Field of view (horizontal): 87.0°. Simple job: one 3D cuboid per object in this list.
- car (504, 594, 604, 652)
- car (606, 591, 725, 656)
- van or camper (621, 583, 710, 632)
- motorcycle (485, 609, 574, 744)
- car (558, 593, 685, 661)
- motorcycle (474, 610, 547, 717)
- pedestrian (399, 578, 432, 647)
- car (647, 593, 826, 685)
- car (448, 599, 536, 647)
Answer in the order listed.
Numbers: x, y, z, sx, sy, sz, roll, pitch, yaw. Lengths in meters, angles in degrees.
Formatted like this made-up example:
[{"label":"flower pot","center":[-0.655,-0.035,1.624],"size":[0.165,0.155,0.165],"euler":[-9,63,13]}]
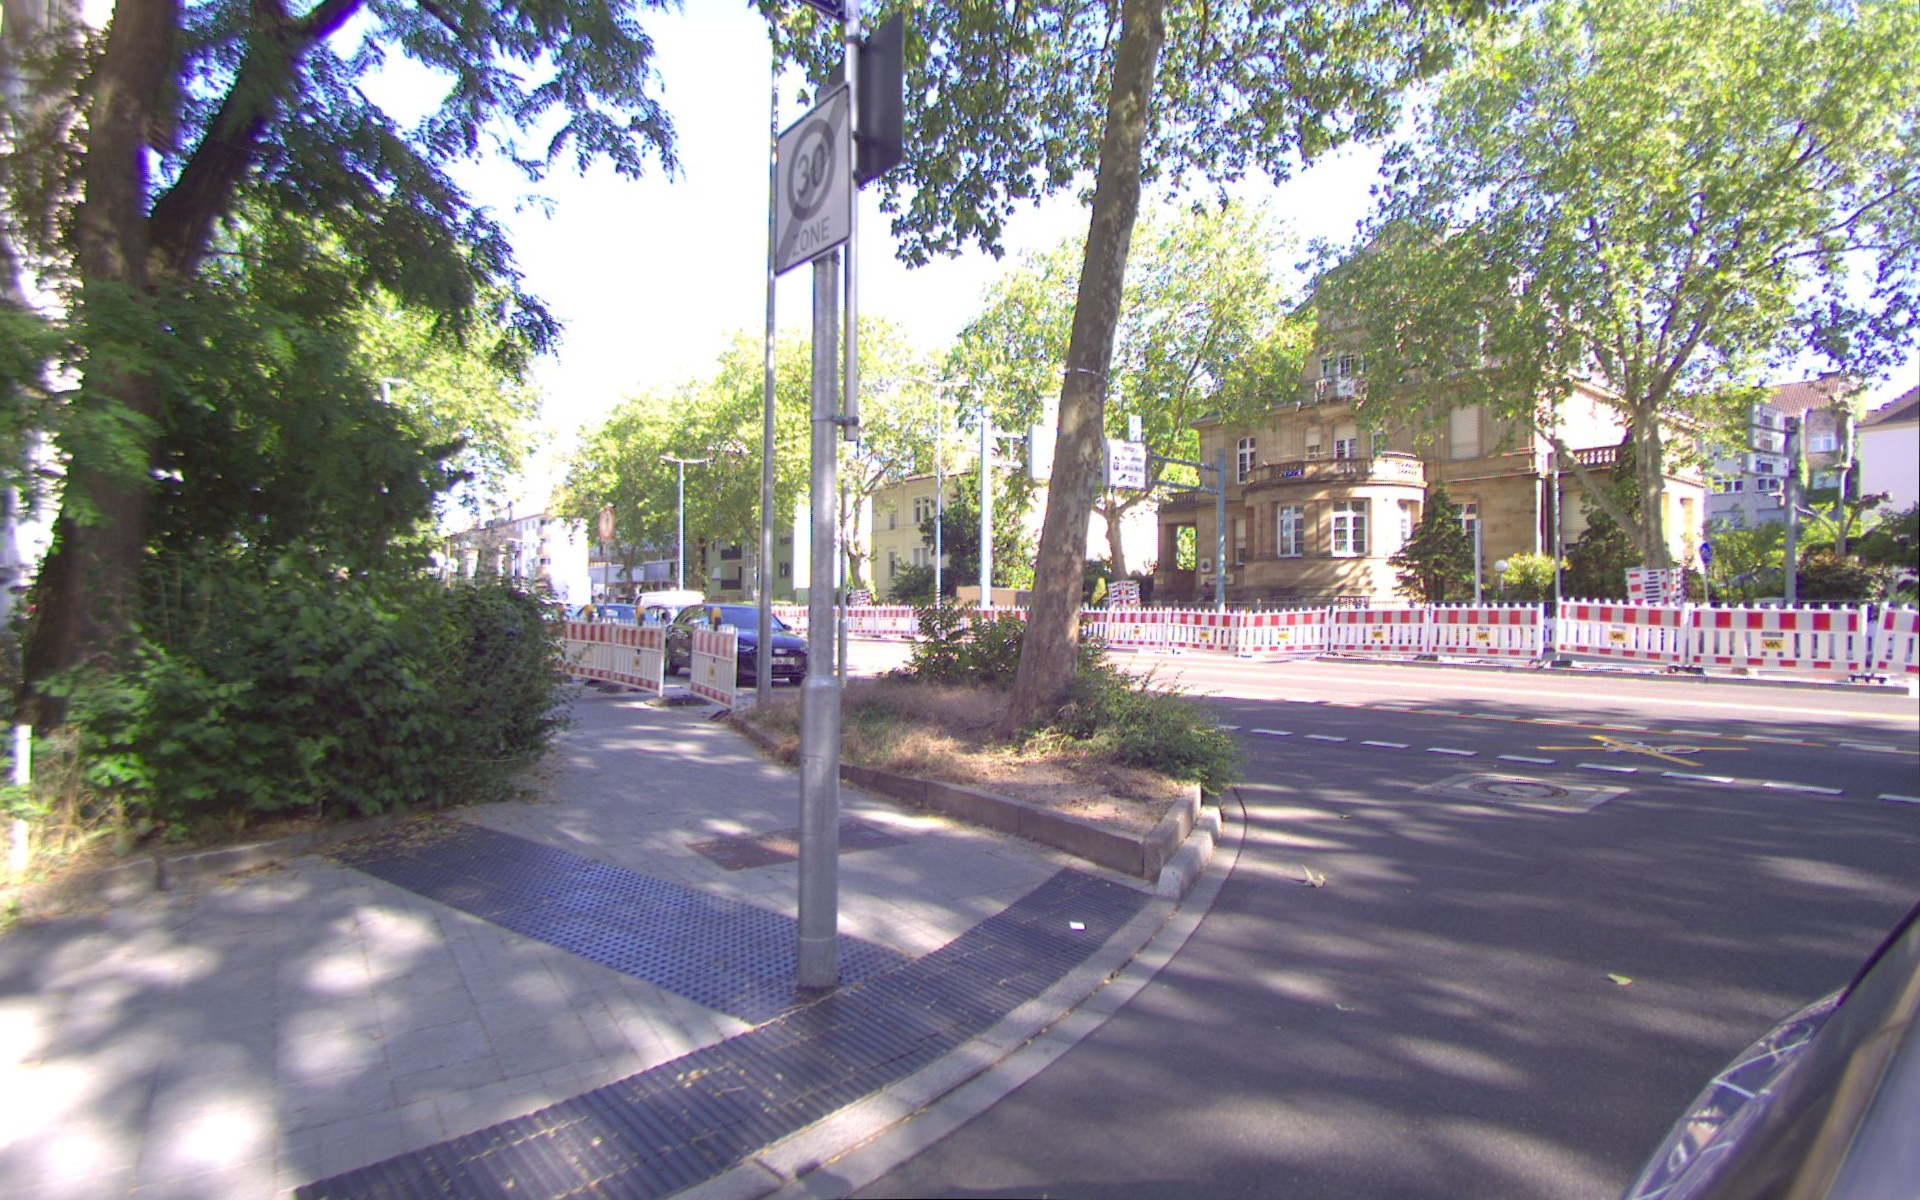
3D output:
[{"label":"car","center":[-11.389,0.617,28.283],"size":[1.595,1.505,3.730],"euler":[3,-2,-38]},{"label":"car","center":[-8.799,0.645,29.957],"size":[1.836,1.748,4.503],"euler":[-1,0,-38]},{"label":"van or camper","center":[-13.181,0.312,45.068],"size":[1.964,2.039,5.324],"euler":[-1,0,-38]},{"label":"motorcycle","center":[-4.250,0.694,9.940],"size":[0.587,1.202,1.556],"euler":[0,-1,-31]},{"label":"car","center":[-8.198,0.623,24.328],"size":[1.595,1.505,4.053],"euler":[3,-2,-38]},{"label":"motorcycle","center":[-5.524,0.726,12.386],"size":[0.587,1.201,1.804],"euler":[0,-1,-31]},{"label":"pedestrian","center":[-15.029,0.344,27.948],"size":[0.654,1.873,0.693],"euler":[2,-2,-38]},{"label":"car","center":[-4.241,0.671,18.753],"size":[1.595,1.505,4.094],"euler":[3,-2,-38]},{"label":"car","center":[-15.296,0.735,32.980],"size":[1.690,1.431,4.045],"euler":[3,-2,-38]}]
